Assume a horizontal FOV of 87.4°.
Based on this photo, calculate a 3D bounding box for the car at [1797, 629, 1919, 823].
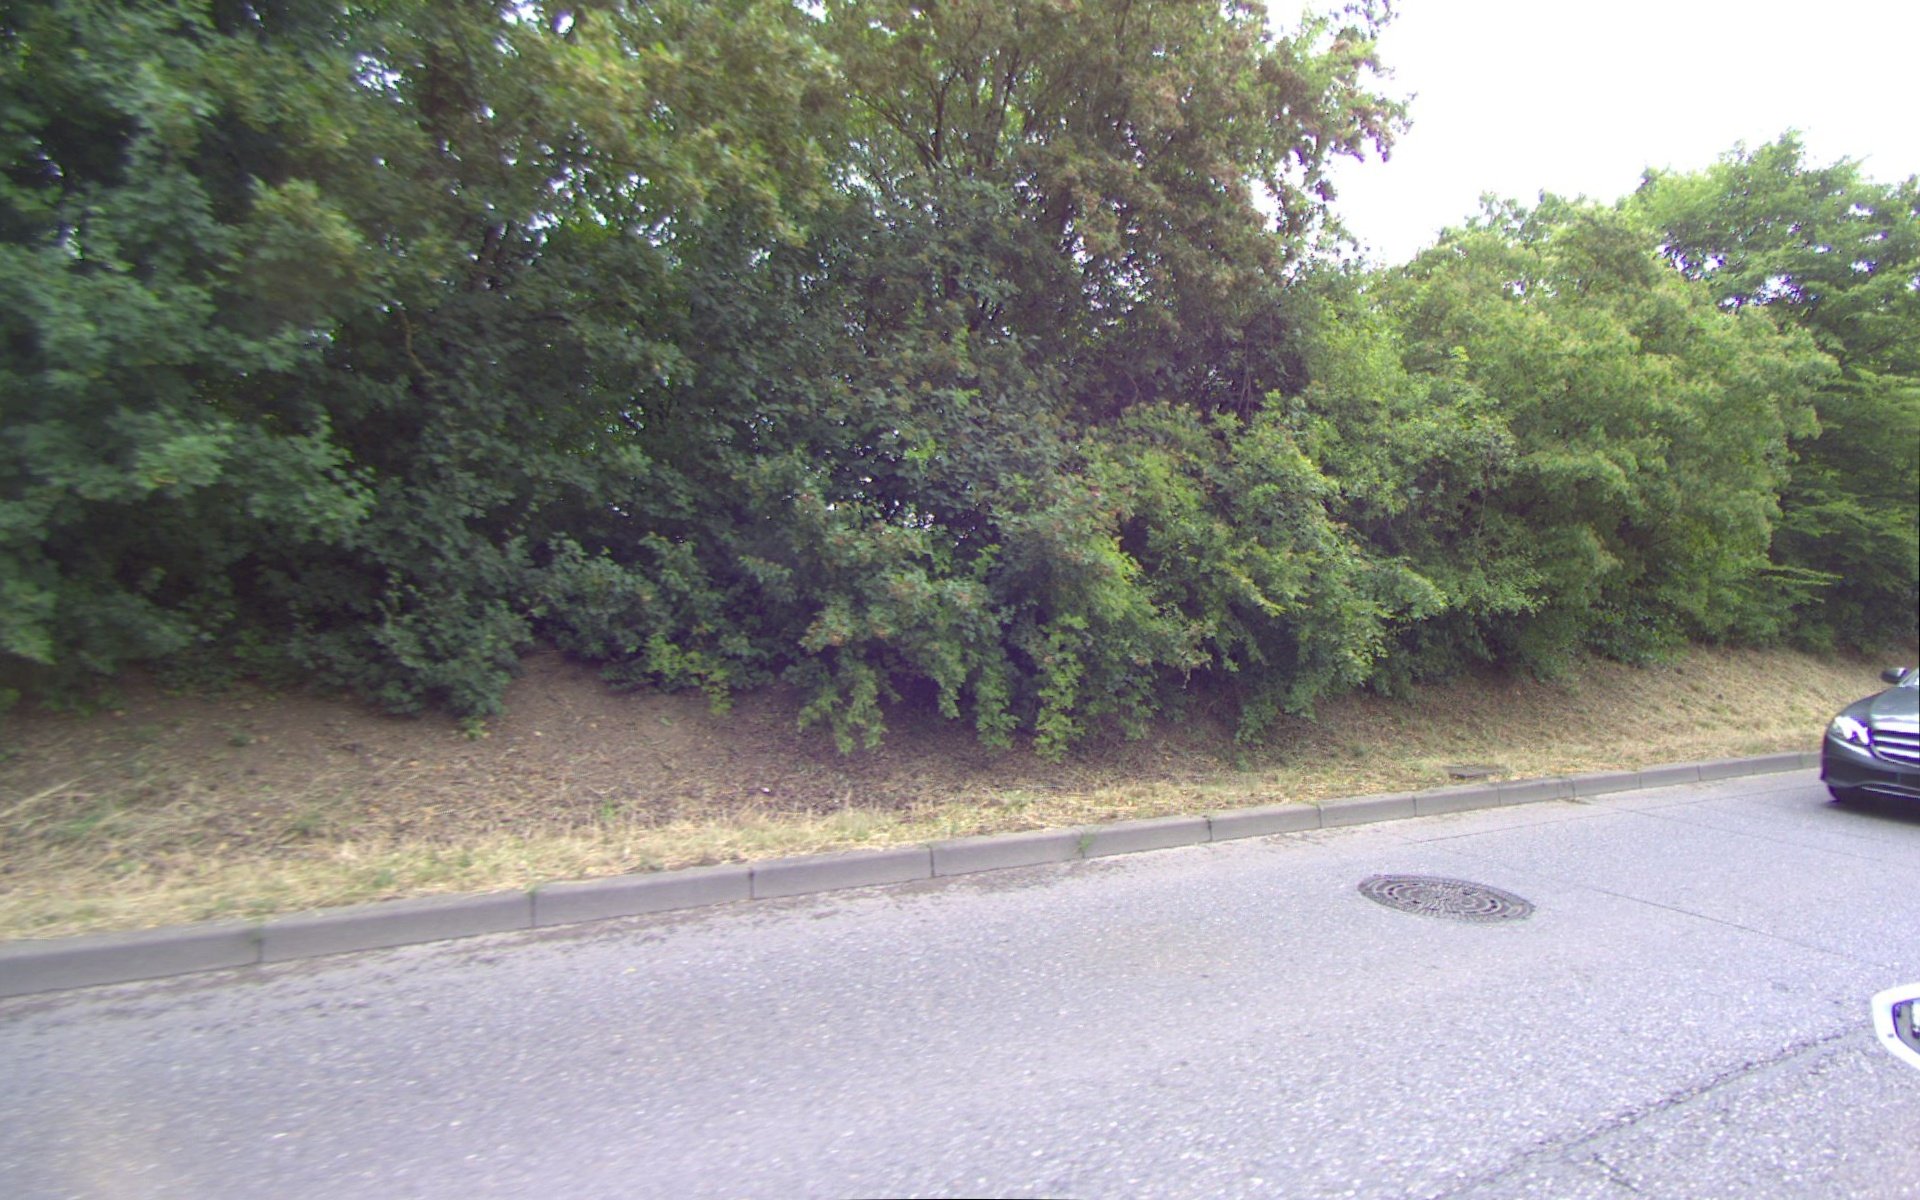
[{"bbox_3d":[9.159,1.010,8.406,4.377,1.424,1.823,2,0,-29],"label":"car"}]
